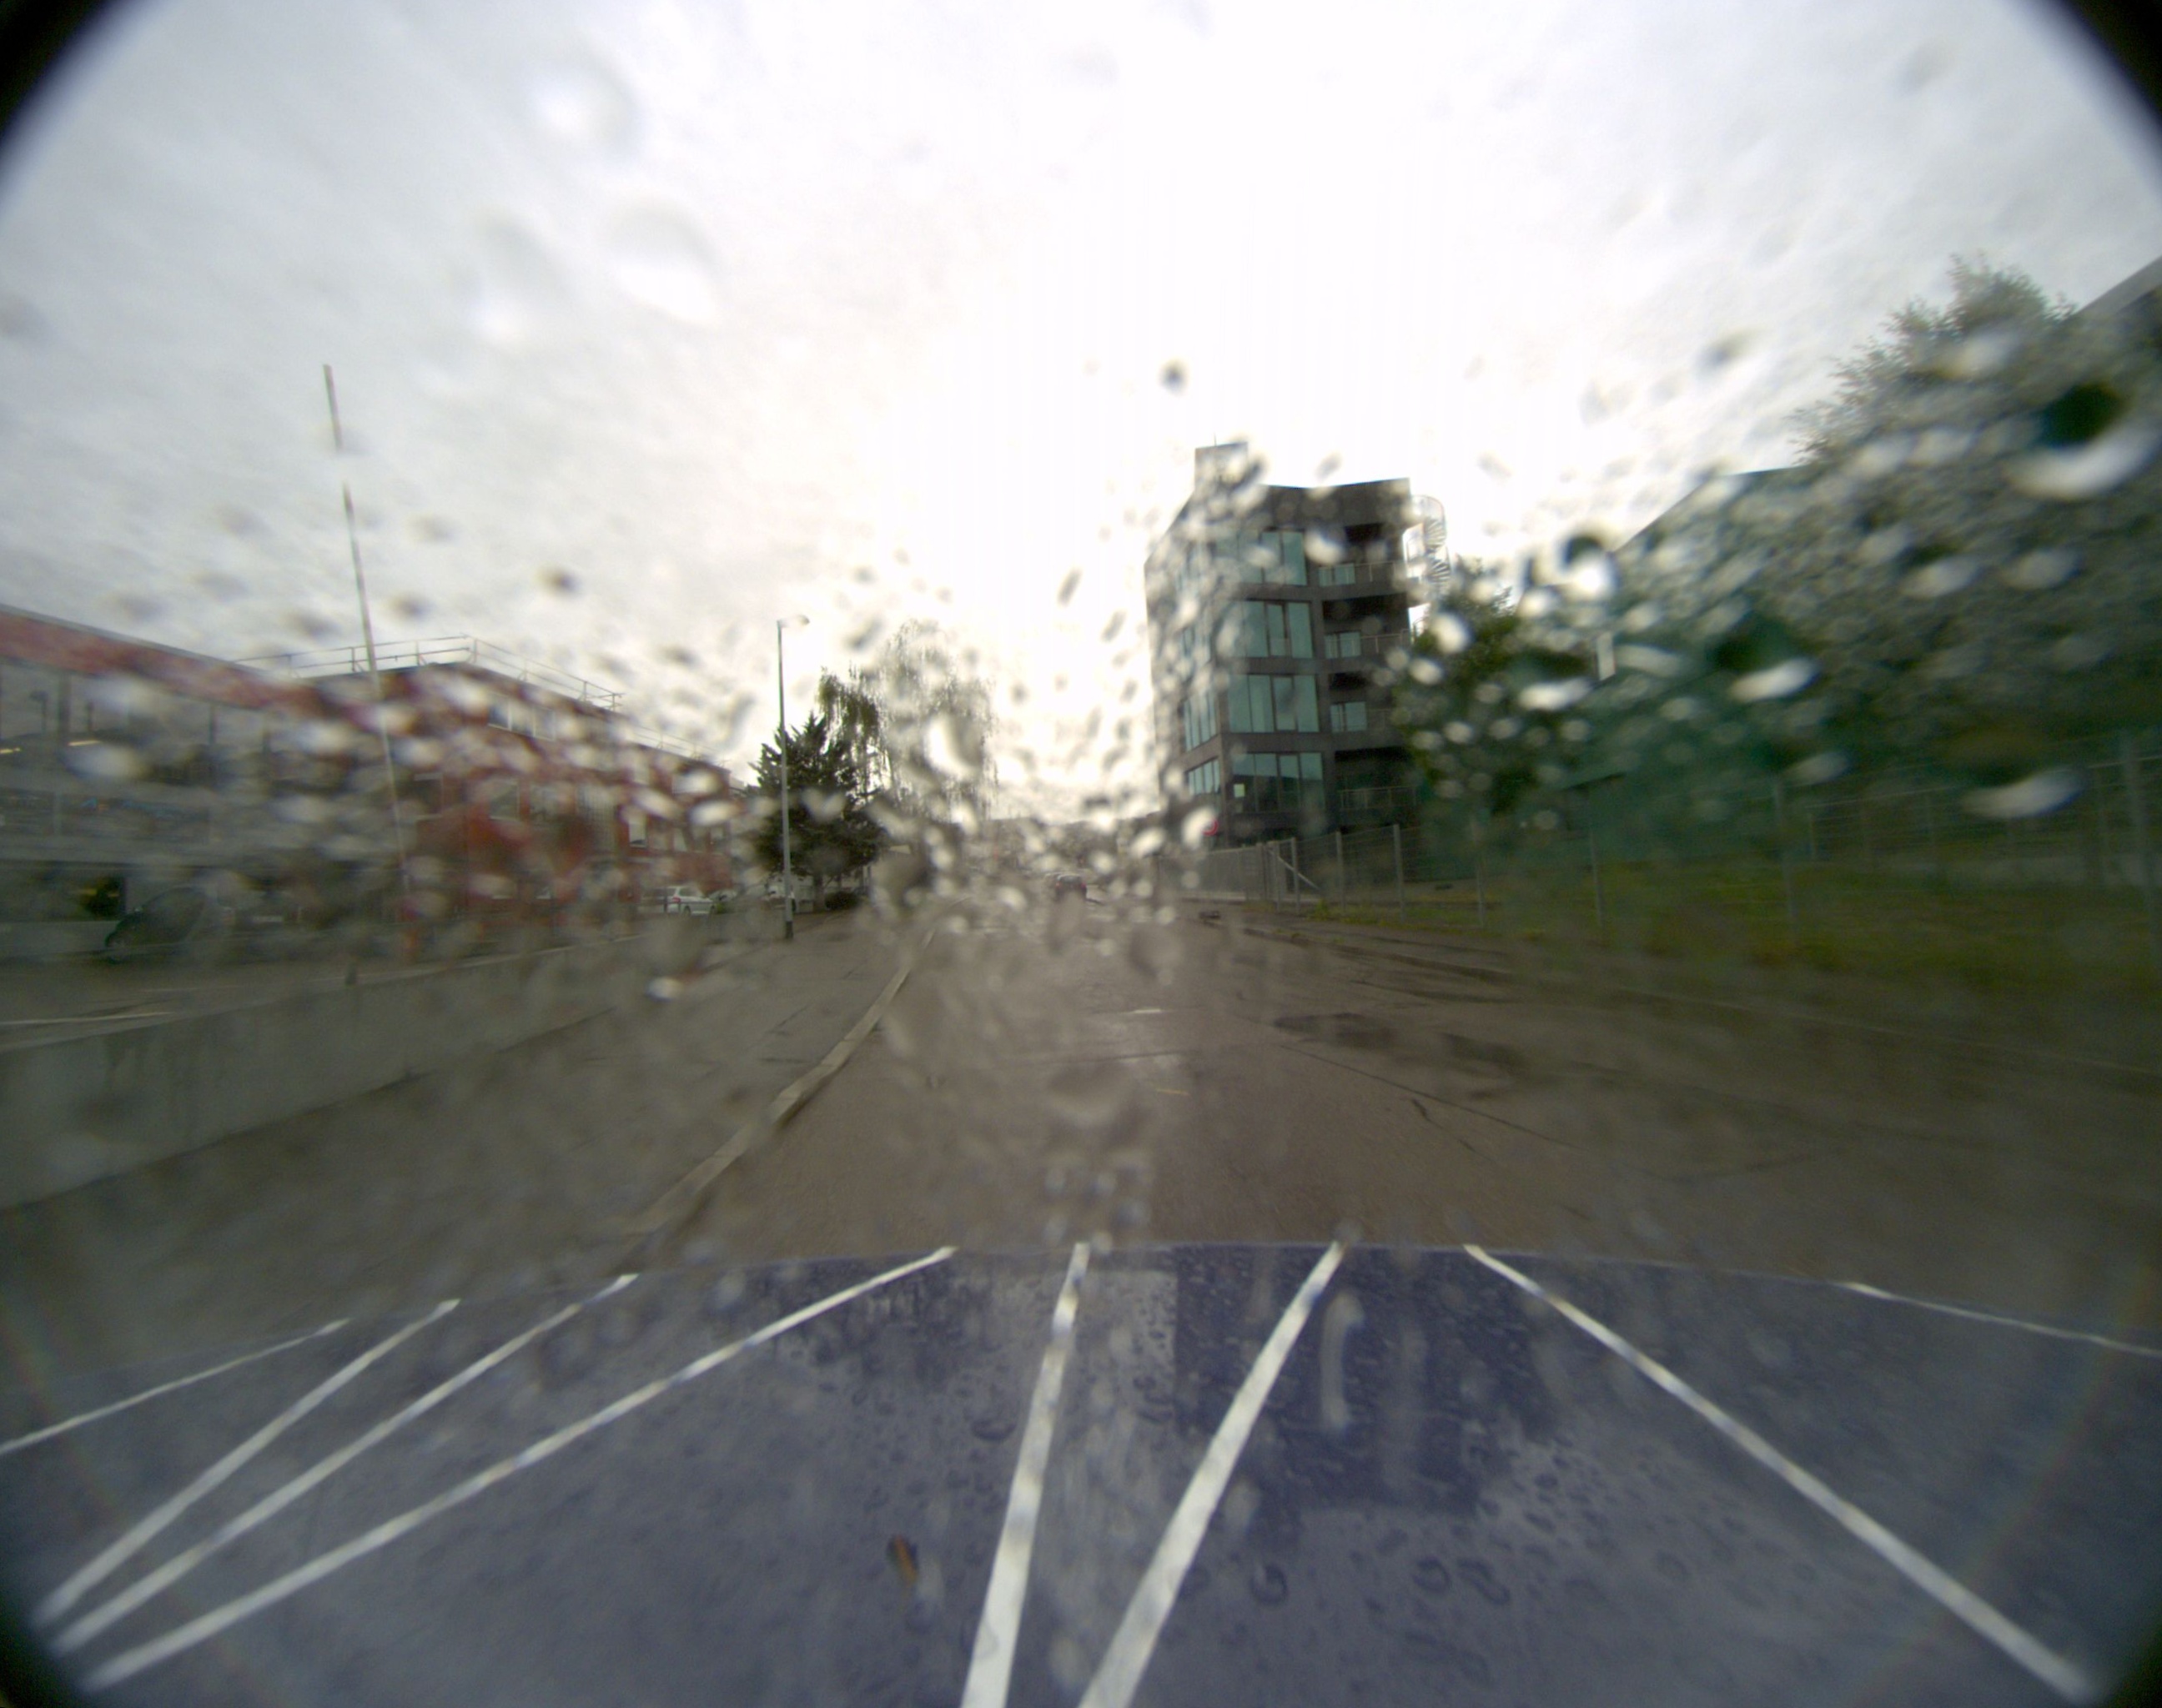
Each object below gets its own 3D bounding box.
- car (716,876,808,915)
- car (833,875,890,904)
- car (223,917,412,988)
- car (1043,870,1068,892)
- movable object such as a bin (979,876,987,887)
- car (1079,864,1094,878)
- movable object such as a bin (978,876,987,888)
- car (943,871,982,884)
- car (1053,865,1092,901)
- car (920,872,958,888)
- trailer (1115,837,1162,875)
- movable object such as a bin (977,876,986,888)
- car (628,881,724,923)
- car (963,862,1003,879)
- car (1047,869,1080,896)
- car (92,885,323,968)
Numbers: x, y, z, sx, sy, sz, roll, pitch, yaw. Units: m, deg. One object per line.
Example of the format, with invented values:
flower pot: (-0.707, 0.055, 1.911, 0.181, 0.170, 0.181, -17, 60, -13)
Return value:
car: (-15.417, 1.986, 37.021, 1.999, 1.569, 4.515, -4, -1, 9)
car: (-15.928, 2.565, 55.148, 3.442, 1.490, 1.620, -11, -2, 9)
car: (-18.762, 2.395, 18.771, 3.042, 1.486, 1.630, -2, 0, 2)
car: (-2.007, 2.079, 58.705, 1.740, 1.527, 4.249, -3, -1, -5)
movable object such as a bin: (-9.822, 2.757, 76.309, 0.736, 1.084, 0.594, -2, 0, 0)
car: (0.788, 2.405, 106.580, 1.999, 1.902, 4.000, -2, -1, 0)
movable object such as a bin: (-9.819, 2.779, 75.675, 0.736, 1.084, 0.594, -2, 0, 0)
car: (-15.393, 3.057, 98.756, 4.620, 1.488, 1.942, -2, -1, 6)
car: (-0.519, 1.543, 41.753, 1.745, 1.786, 3.957, -2, -1, -6)
car: (-15.317, 2.830, 82.112, 3.747, 1.531, 1.632, -2, -1, 4)
trailer: (6.453, 0.230, 85.119, 4.687, 4.065, 2.394, -3, -1, 44)
movable object such as a bin: (-9.816, 2.767, 75.066, 0.736, 1.084, 0.594, -2, 0, 0)
car: (-16.266, 1.890, 30.764, 1.909, 1.461, 4.327, -1, -1, -6)
car: (-14.001, 2.363, 108.566, 5.149, 2.280, 2.204, -3, -1, 8)
car: (-1.138, 1.744, 47.838, 1.637, 1.548, 4.082, -2, -1, -7)
car: (-17.070, 1.384, 14.947, 2.718, 1.438, 1.679, -2, -1, 5)
